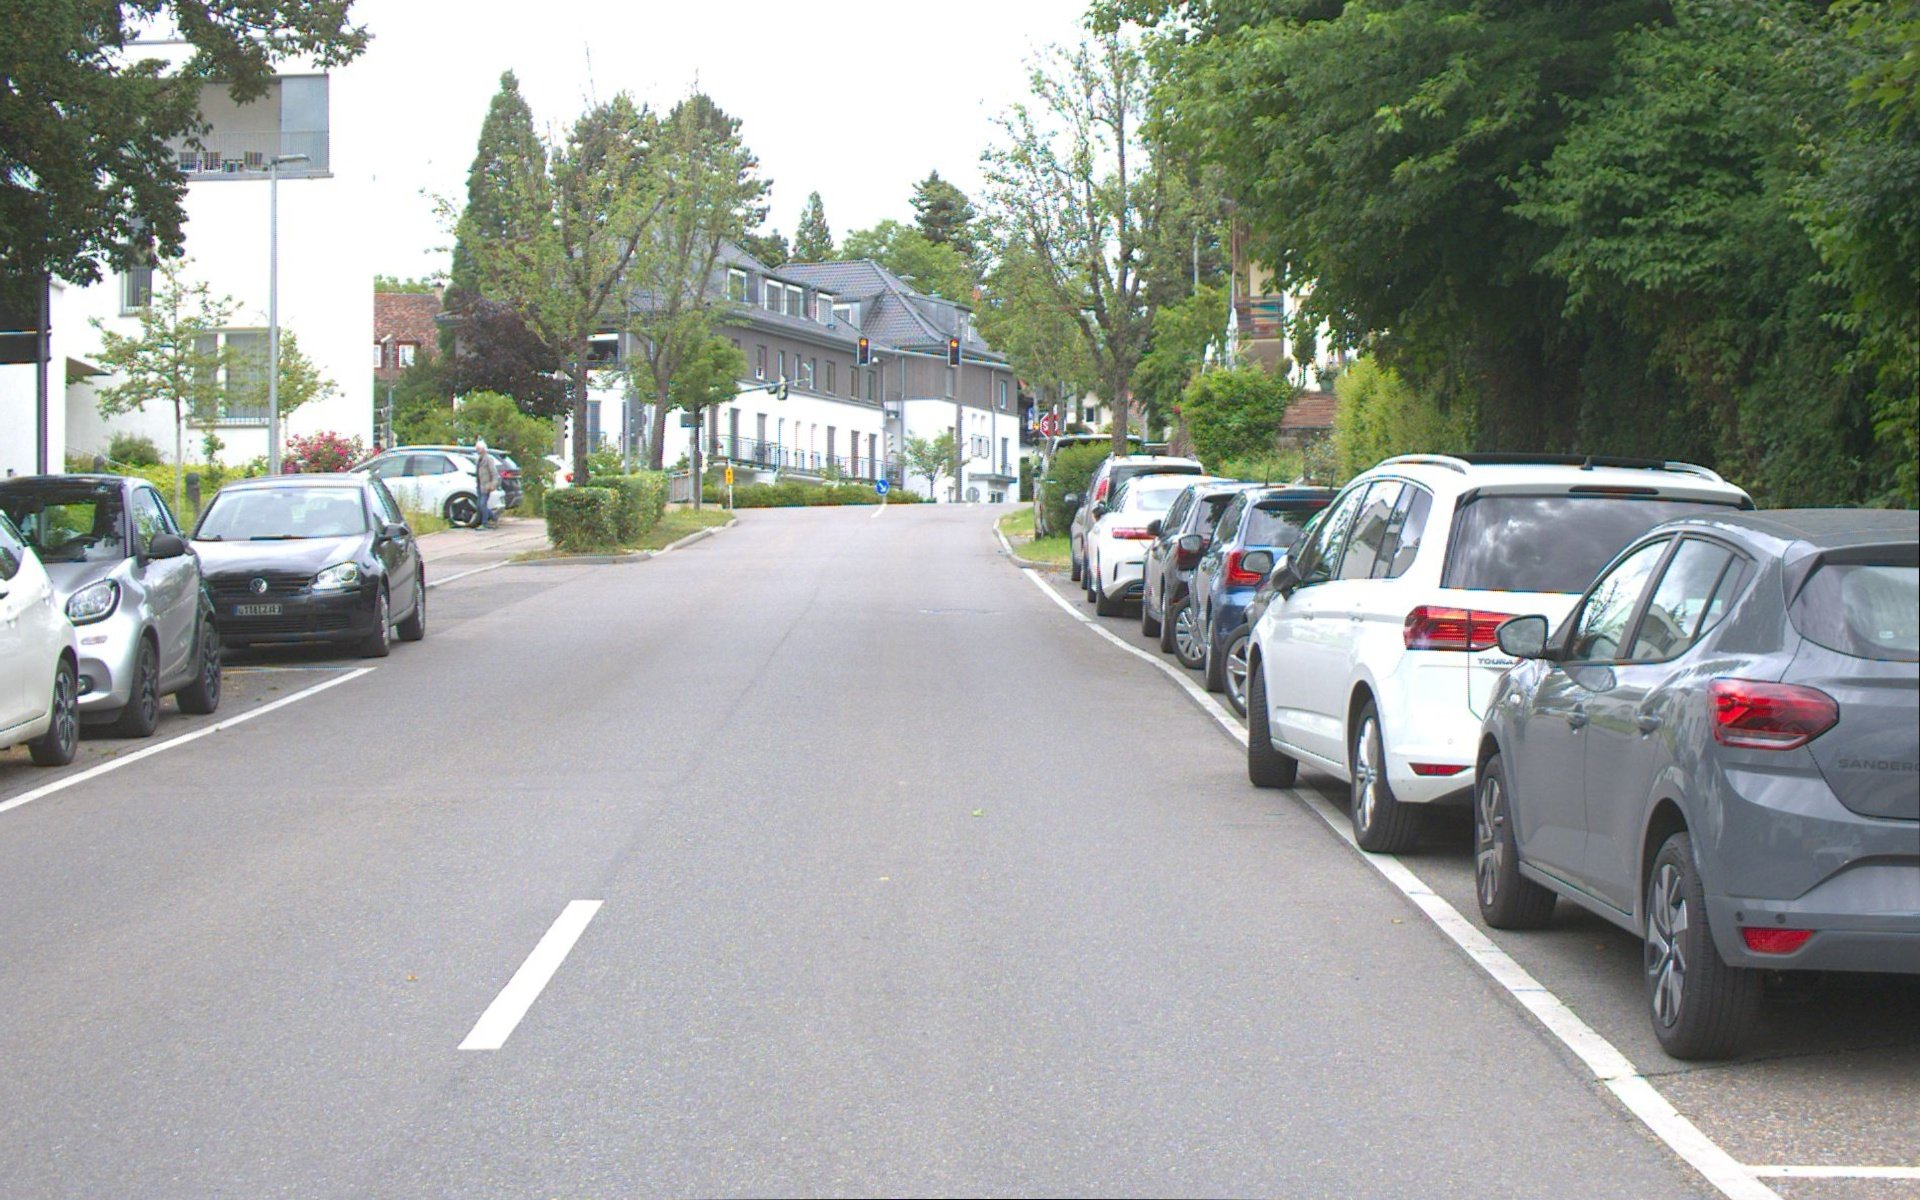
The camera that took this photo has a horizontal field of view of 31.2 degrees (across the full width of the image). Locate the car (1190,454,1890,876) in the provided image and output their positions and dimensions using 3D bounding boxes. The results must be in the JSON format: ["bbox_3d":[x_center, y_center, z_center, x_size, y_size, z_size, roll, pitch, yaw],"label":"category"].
[{"bbox_3d":[2.426,0.152,15.736,2.000,1.603,4.760,-1,2,-5],"label":"car"}]

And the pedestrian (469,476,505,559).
[{"bbox_3d":[-9.395,-1.647,68.300,0.593,1.634,0.565,-1,2,1],"label":"pedestrian"}]

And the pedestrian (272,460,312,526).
[{"bbox_3d":[-13.151,-2.117,67.712,0.607,1.278,0.900,1,2,-1],"label":"pedestrian"}]

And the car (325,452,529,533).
[{"bbox_3d":[-11.230,-2.285,72.619,3.987,1.648,2.009,1,2,1],"label":"car"}]

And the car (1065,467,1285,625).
[{"bbox_3d":[2.183,-0.625,36.151,1.993,1.486,5.005,-1,2,0],"label":"car"}]

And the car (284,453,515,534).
[{"bbox_3d":[-11.366,-2.185,69.976,4.386,1.561,2.067,-1,2,-2],"label":"car"}]

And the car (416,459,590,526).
[{"bbox_3d":[-11.777,-2.766,88.807,4.259,1.617,2.014,-1,1,-3],"label":"car"}]

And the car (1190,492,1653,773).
[{"bbox_3d":[2.598,0.102,20.411,1.809,1.447,4.380,-1,2,-5],"label":"car"}]

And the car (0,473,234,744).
[{"bbox_3d":[-5.470,0.005,20.714,1.624,1.513,2.976,0,2,-1],"label":"car"}]

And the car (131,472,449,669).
[{"bbox_3d":[-5.455,-0.311,28.557,1.850,1.464,4.684,-1,2,-2],"label":"car"}]

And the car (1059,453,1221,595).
[{"bbox_3d":[2.171,-0.971,42.435,1.717,1.626,3.929,2,2,0],"label":"car"}]

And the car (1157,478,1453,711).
[{"bbox_3d":[2.457,-0.110,25.381,1.697,1.503,4.161,2,2,0],"label":"car"}]

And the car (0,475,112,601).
[{"bbox_3d":[-11.390,-0.695,37.805,3.793,1.349,1.742,0,2,-6],"label":"car"}]

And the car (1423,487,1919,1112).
[{"bbox_3d":[2.792,0.425,10.800,1.937,1.486,4.457,-1,2,-2],"label":"car"}]

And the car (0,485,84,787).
[{"bbox_3d":[-5.511,0.216,16.480,1.744,1.443,3.514,-3,2,-1],"label":"car"}]
